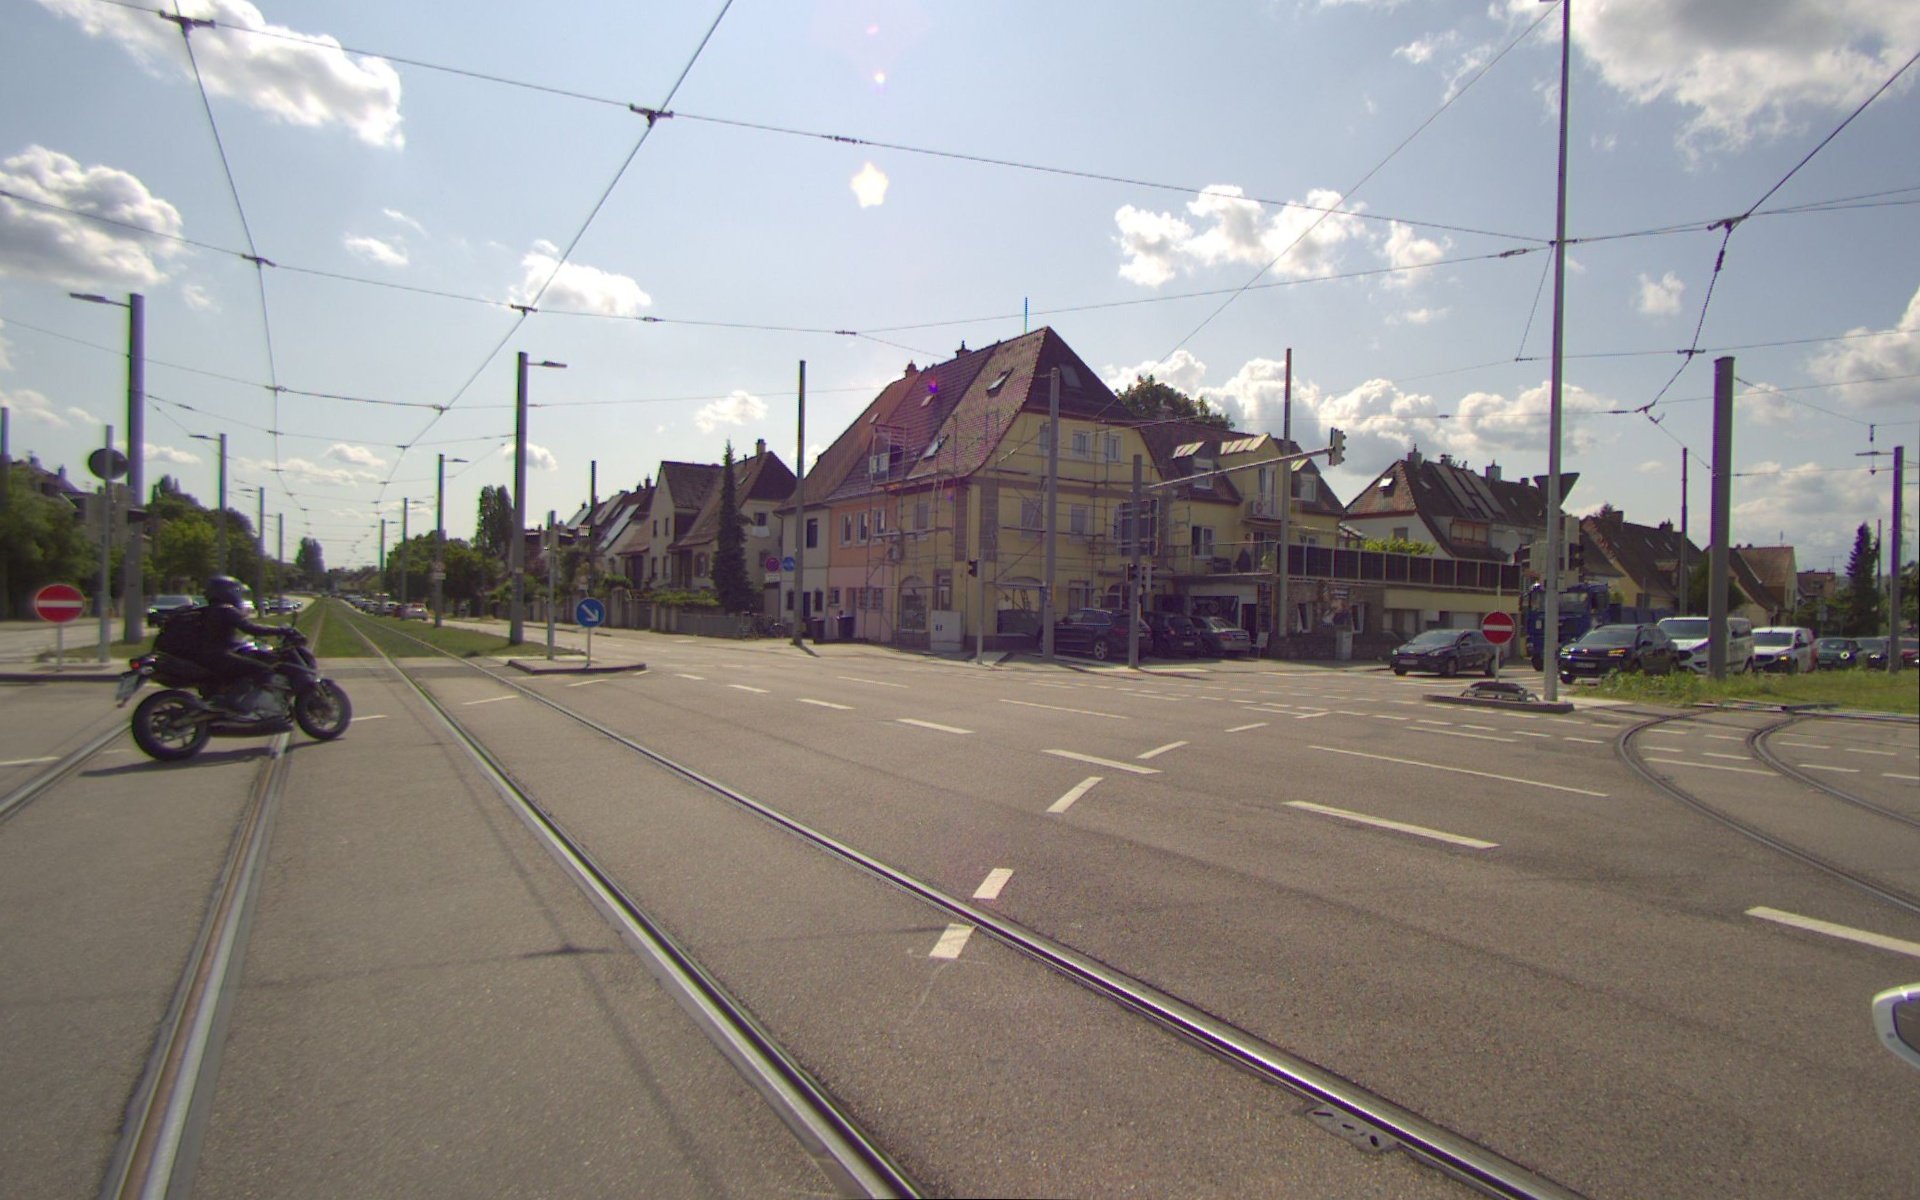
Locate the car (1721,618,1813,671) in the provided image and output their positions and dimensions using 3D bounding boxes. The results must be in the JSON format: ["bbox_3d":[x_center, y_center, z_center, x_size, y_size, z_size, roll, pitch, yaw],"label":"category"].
[{"bbox_3d":[29.812,1.626,37.059,4.367,1.806,1.719,2,-1,-39],"label":"car"}]

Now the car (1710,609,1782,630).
[{"bbox_3d":[61.166,1.501,78.223,1.972,1.486,4.078,1,0,-36],"label":"car"}]

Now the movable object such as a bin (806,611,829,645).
[{"bbox_3d":[-5.625,1.098,39.694,0.675,1.277,0.677,1,1,-33],"label":"movable object such as a bin"}]

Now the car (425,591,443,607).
[{"bbox_3d":[-67.941,-0.146,129.699,1.975,2.040,3.971,1,-1,-28],"label":"car"}]

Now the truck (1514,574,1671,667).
[{"bbox_3d":[24.330,0.811,38.471,7.516,3.230,2.747,2,0,-39],"label":"truck"}]

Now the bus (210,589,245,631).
[{"bbox_3d":[-72.192,0.896,99.134,2.377,3.827,11.906,1,0,-34],"label":"bus"}]

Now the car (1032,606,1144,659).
[{"bbox_3d":[4.241,1.048,33.817,1.168,1.513,4.103,1,2,-37],"label":"car"}]

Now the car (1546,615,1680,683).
[{"bbox_3d":[18.495,1.312,28.372,4.399,1.743,1.773,1,0,-37],"label":"car"}]

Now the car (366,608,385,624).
[{"bbox_3d":[-76.640,2.139,131.793,1.975,2.040,3.971,1,0,-28],"label":"car"}]

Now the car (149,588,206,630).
[{"bbox_3d":[-39.374,0.442,50.604,1.885,2.040,3.681,2,0,-33],"label":"car"}]

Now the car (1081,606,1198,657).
[{"bbox_3d":[6.294,1.080,35.564,1.493,1.513,4.103,1,2,-37],"label":"car"}]

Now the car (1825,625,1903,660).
[{"bbox_3d":[40.680,1.901,45.159,4.873,1.432,1.829,2,-1,-38],"label":"car"}]

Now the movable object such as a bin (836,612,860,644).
[{"bbox_3d":[-4.500,1.121,40.385,0.675,1.277,0.677,1,1,-33],"label":"movable object such as a bin"}]

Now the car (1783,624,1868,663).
[{"bbox_3d":[35.157,1.753,40.785,3.965,1.437,1.900,2,-1,-38],"label":"car"}]

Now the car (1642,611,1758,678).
[{"bbox_3d":[23.682,1.392,32.086,4.707,1.947,1.800,2,0,-39],"label":"car"}]

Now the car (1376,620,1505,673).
[{"bbox_3d":[15.092,1.447,31.482,4.291,1.507,1.815,2,-1,-36],"label":"car"}]

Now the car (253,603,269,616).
[{"bbox_3d":[-112.898,1.570,162.214,1.981,2.040,3.960,1,0,-36],"label":"car"}]

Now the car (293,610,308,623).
[{"bbox_3d":[-105.365,2.690,160.546,1.979,2.040,3.963,1,0,-33],"label":"car"}]

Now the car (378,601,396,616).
[{"bbox_3d":[-69.550,0.984,122.005,1.779,1.740,3.971,1,0,-28],"label":"car"}]

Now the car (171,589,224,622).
[{"bbox_3d":[-47.909,0.348,63.174,1.975,2.040,3.971,1,0,-28],"label":"car"}]

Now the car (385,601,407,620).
[{"bbox_3d":[-61.840,1.169,110.197,1.975,2.040,3.971,1,0,-28],"label":"car"}]

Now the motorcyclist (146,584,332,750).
[{"bbox_3d":[-6.690,0.573,9.376,0.809,1.417,1.100,0,3,19],"label":"motorcyclist"}]

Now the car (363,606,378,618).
[{"bbox_3d":[-91.911,1.846,156.524,1.779,1.740,3.971,1,0,-28],"label":"car"}]

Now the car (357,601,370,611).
[{"bbox_3d":[-108.674,1.066,183.112,1.779,1.740,3.971,1,0,-28],"label":"car"}]

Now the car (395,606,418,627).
[{"bbox_3d":[-55.893,1.618,101.492,1.975,2.040,3.971,1,0,-28],"label":"car"}]

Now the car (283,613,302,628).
[{"bbox_3d":[-94.576,2.876,142.288,1.977,2.040,3.968,1,0,-30],"label":"car"}]

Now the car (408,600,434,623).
[{"bbox_3d":[-47.915,1.024,89.303,1.975,2.040,3.971,1,0,-28],"label":"car"}]

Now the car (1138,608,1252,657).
[{"bbox_3d":[8.579,1.162,36.966,1.422,1.513,4.103,1,2,-37],"label":"car"}]

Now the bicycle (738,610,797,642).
[{"bbox_3d":[-8.480,1.144,44.303,2.428,1.374,0.770,1,1,-29],"label":"bicycle"}]

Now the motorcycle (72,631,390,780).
[{"bbox_3d":[-6.673,0.893,9.405,0.827,1.143,2.359,1,0,19],"label":"motorcycle"}]

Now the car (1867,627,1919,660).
[{"bbox_3d":[46.190,2.119,49.133,4.812,1.513,1.830,2,-1,-37],"label":"car"}]
